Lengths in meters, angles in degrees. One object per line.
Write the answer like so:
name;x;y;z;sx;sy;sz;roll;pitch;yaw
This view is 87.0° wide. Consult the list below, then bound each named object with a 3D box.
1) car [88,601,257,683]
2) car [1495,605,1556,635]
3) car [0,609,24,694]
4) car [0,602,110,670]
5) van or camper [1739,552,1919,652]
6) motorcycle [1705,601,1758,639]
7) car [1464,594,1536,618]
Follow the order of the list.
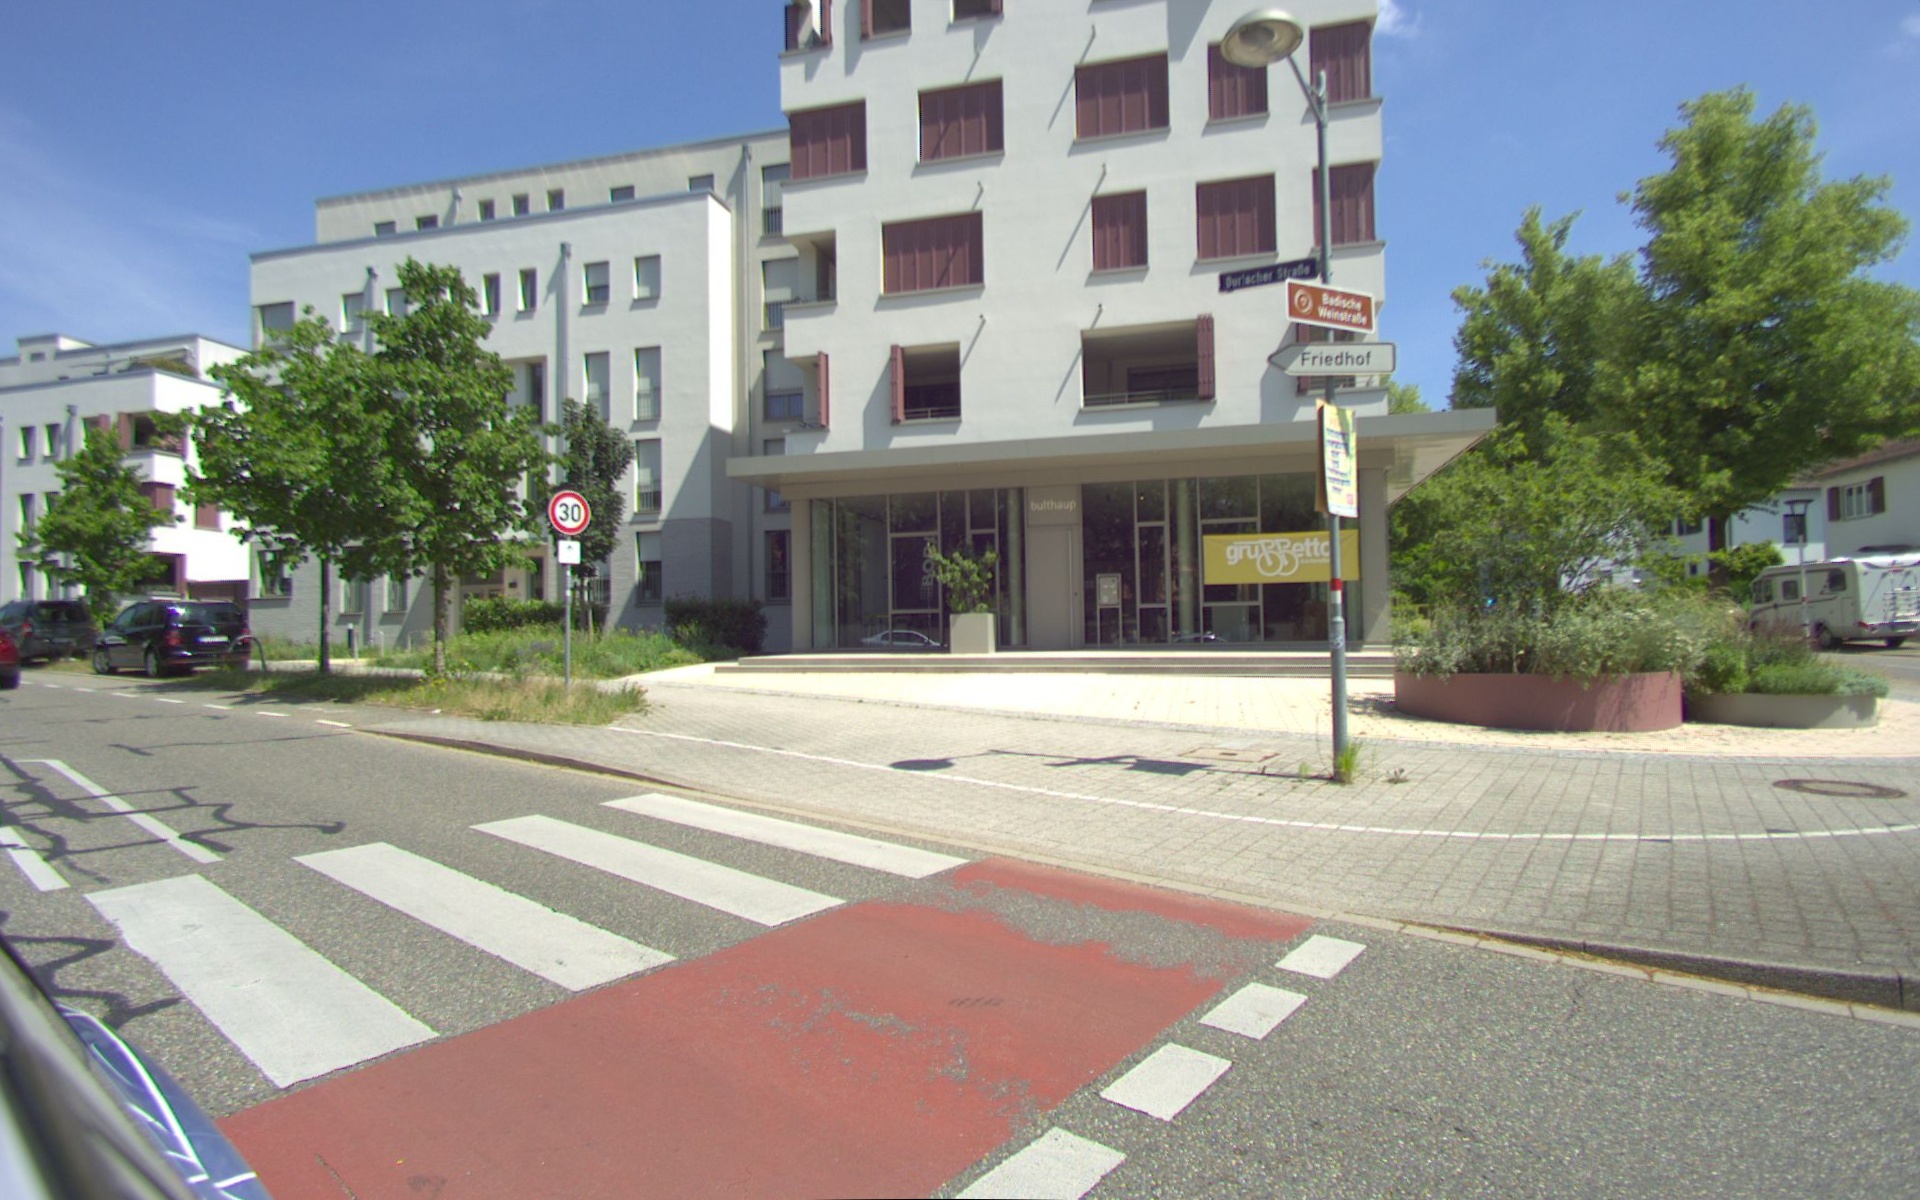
car;-17.307;0.876;22.208;4.007;1.650;1.681;-1;-1;32
car;30.784;1.083;55.159;1.738;1.516;3.977;-1;-1;12
car;-19.069;0.948;18.712;3.981;1.516;1.736;-1;-1;34
car;-24.449;0.924;27.026;3.615;1.713;1.681;-1;-1;32
van or camper;26.641;0.061;30.632;2.250;2.658;5.866;-4;-1;11
motorcycle;27.486;0.709;36.051;2.196;1.330;0.742;0;-1;-32
car;37.956;0.428;71.239;4.068;1.621;1.814;0;-1;5
